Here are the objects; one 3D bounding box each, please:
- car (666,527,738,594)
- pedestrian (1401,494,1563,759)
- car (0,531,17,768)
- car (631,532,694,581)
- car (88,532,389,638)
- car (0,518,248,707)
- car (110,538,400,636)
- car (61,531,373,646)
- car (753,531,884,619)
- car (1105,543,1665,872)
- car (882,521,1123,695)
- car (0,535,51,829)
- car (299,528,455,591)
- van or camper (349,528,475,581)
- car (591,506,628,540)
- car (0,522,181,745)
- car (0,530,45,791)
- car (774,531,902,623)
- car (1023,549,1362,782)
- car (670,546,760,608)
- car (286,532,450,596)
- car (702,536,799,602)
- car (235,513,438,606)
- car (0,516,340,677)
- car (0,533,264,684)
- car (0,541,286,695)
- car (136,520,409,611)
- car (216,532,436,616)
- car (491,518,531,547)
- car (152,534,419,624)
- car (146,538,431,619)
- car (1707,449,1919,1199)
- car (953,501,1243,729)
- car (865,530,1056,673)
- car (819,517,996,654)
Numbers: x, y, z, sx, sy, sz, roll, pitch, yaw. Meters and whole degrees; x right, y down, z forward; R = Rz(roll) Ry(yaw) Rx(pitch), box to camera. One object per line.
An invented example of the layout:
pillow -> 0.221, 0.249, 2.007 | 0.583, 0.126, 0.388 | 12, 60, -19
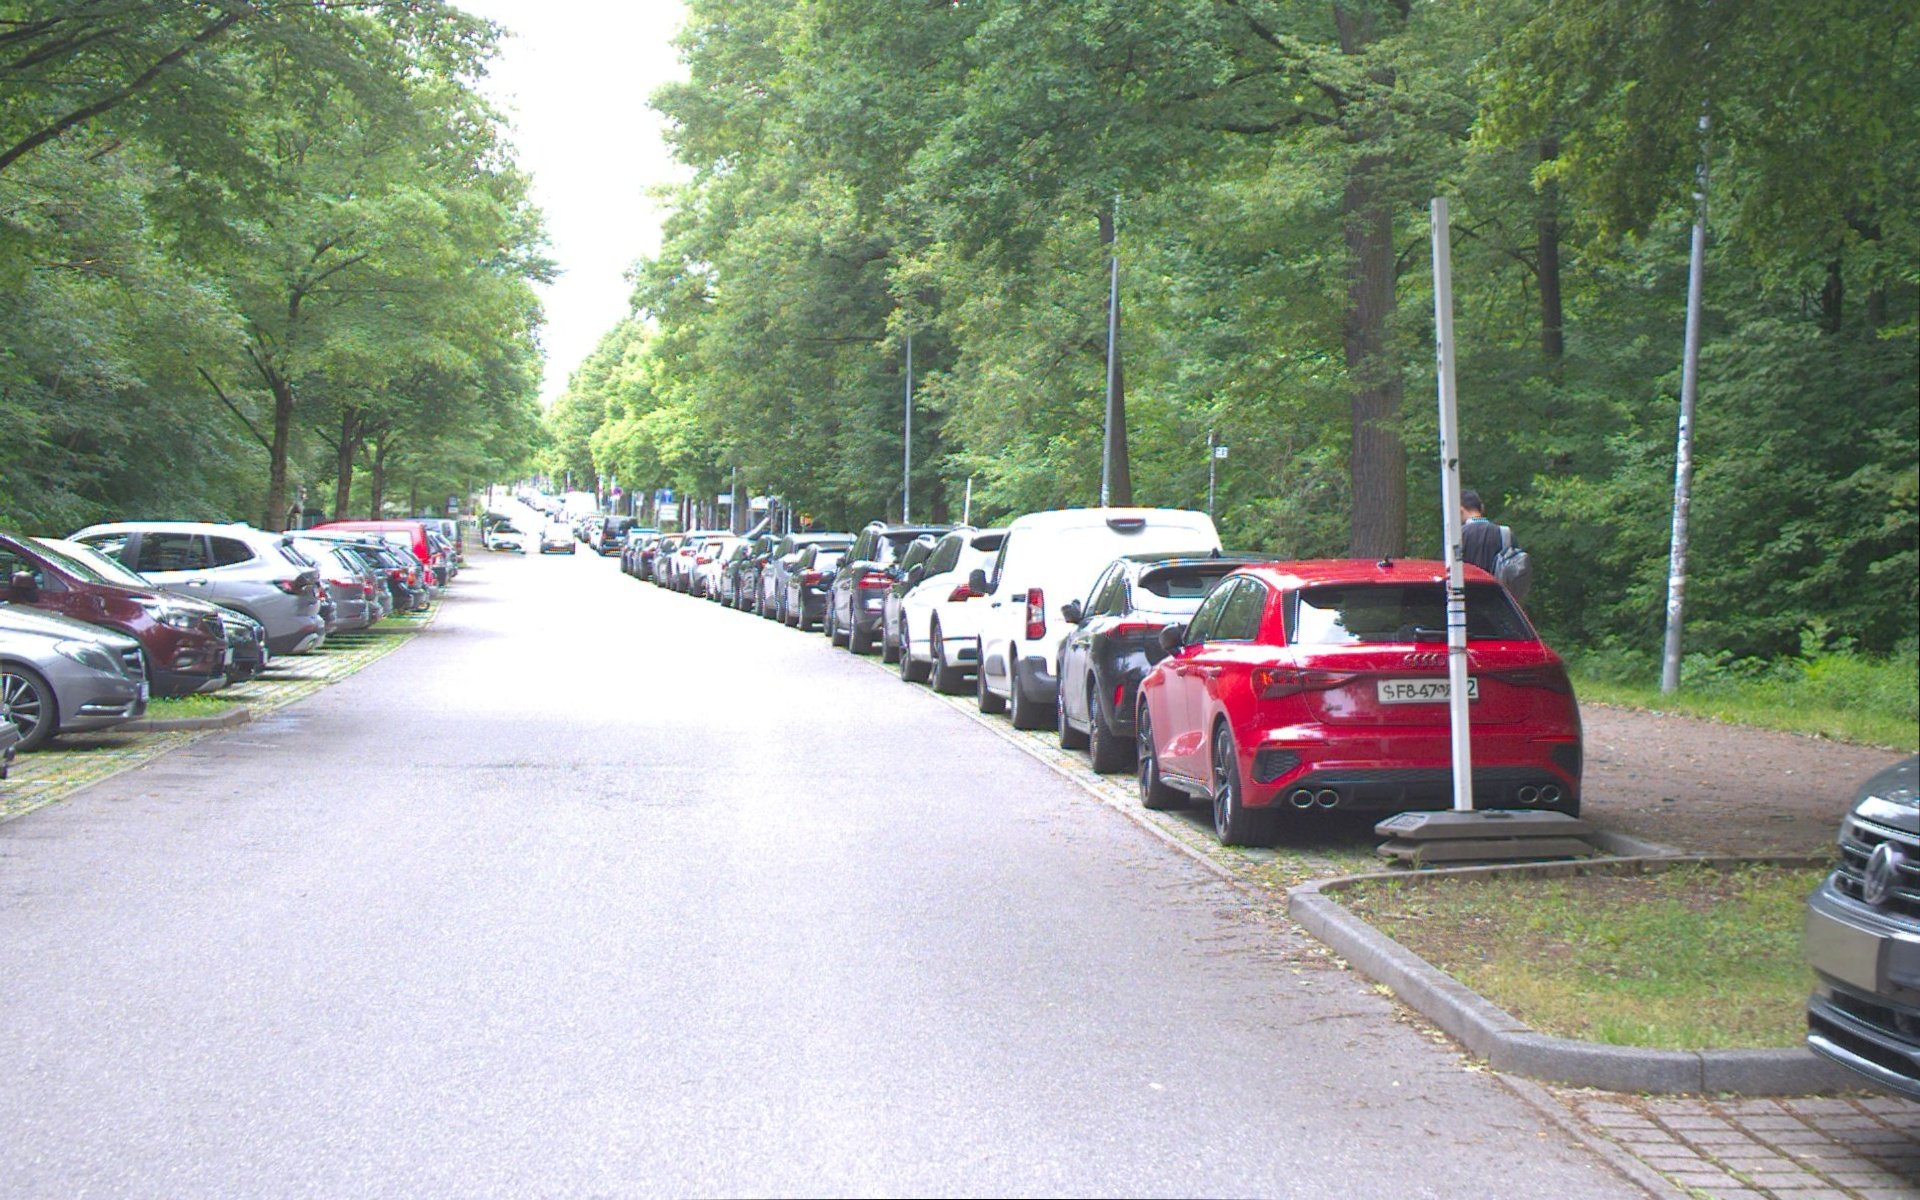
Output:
car -> -6.951, -1.073, 92.418 | 1.710, 1.722, 4.001 | 1, 1, -7
pedestrian -> 3.480, 0.168, 22.979 | 0.817, 1.720, 1.004 | 1, 1, -5
car -> -8.359, 0.305, 22.160 | 4.233, 1.545, 1.848 | 0, 1, -10
car -> -9.692, -1.420, 111.692 | 1.920, 1.515, 3.888 | 1, 1, -6
car -> -10.401, -0.231, 49.817 | 4.108, 1.475, 1.997 | 0, 1, -7
car -> -8.570, 0.076, 29.775 | 4.514, 1.579, 1.927 | 1, 1, -6
car -> -10.669, -0.210, 52.262 | 4.109, 1.426, 1.964 | 0, 1, -5
car -> -10.163, -0.172, 47.269 | 4.088, 1.518, 1.930 | 0, 1, -9
car -> -2.646, -0.483, 63.370 | 1.977, 1.532, 4.623 | 1, 1, -8
car -> 2.076, 0.461, 18.383 | 1.993, 1.474, 4.972 | 1, 1, -4
car -> 0.364, 0.027, 35.469 | 1.785, 1.657, 4.719 | 1, 1, -8
car -> -7.140, 0.395, 17.559 | 4.562, 1.481, 1.870 | 0, 1, -4
car -> -15.514, -1.081, 91.566 | 3.986, 1.634, 1.735 | 0, 1, -6
van or camper -> -21.129, -1.767, 132.579 | 4.473, 1.861, 1.920 | 1, 4, -21
car -> -16.891, -3.728, 165.710 | 1.628, 1.410, 3.412 | 1, 4, -8
car -> -7.794, 0.205, 24.814 | 4.033, 1.549, 1.920 | 1, 1, -6
car -> -7.753, 0.298, 19.728 | 4.561, 1.481, 1.941 | 1, 1, -6
car -> -2.080, -0.411, 57.543 | 1.636, 1.472, 4.152 | 1, 1, -9
car -> 1.508, 0.383, 23.843 | 1.725, 1.418, 4.285 | 1, 1, -4
car -> -6.200, -0.587, 86.653 | 1.721, 1.489, 3.775 | 1, 1, -12
car -> -14.498, -0.886, 84.303 | 3.832, 1.531, 1.871 | 0, 1, -6
car -> -4.955, -0.739, 80.888 | 1.936, 1.470, 3.993 | 1, 1, -8
car -> -12.604, -0.822, 69.634 | 3.986, 1.810, 2.116 | 0, 1, -10
car -> -8.938, -0.062, 37.133 | 4.224, 1.627, 2.029 | 1, 1, -5
car -> -9.219, 0.061, 34.849 | 4.022, 1.460, 1.799 | 1, 1, -4
car -> -8.472, 0.142, 32.482 | 3.986, 1.359, 1.787 | 1, 1, -6
car -> -12.379, -0.627, 62.160 | 4.730, 1.590, 1.960 | 0, 1, -8
car -> -11.926, -0.499, 64.690 | 3.986, 1.525, 2.001 | 0, 1, -11
car -> -21.303, -3.203, 163.154 | 1.739, 1.158, 3.412 | 2, 4, -6
car -> -11.219, -0.362, 57.207 | 4.294, 1.444, 1.757 | 0, 1, -12
car -> -11.577, -0.378, 59.533 | 4.730, 1.338, 1.988 | 0, 1, -8
car -> 4.165, 0.523, 8.215 | 4.265, 1.660, 1.958 | 1, 1, -2
car -> 1.083, 0.071, 29.297 | 1.744, 1.774, 4.553 | 1, 1, -7
car -> -0.056, -0.024, 41.316 | 1.750, 1.602, 4.447 | 1, 1, -7
car -> -0.773, -0.238, 46.999 | 1.889, 1.741, 4.949 | 1, 1, -7
